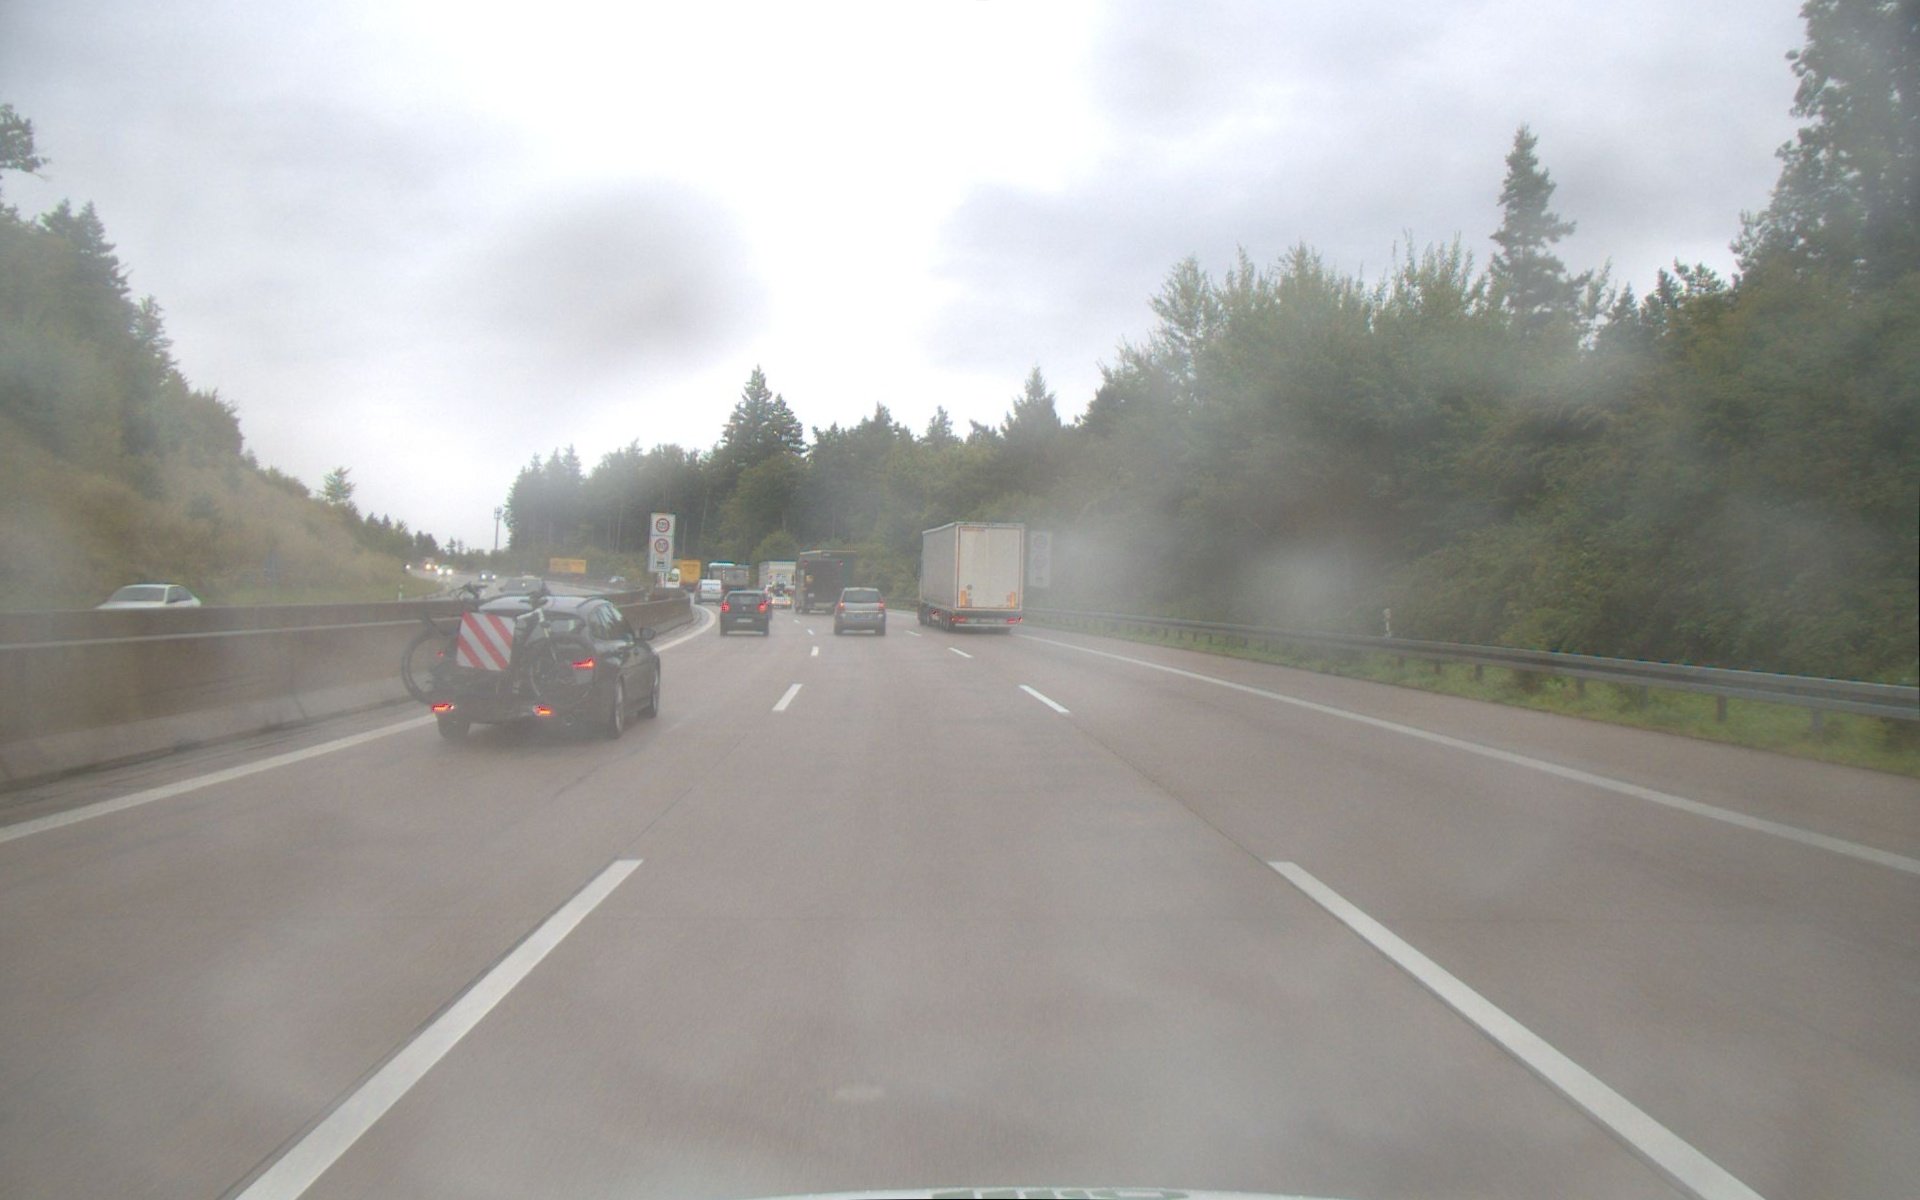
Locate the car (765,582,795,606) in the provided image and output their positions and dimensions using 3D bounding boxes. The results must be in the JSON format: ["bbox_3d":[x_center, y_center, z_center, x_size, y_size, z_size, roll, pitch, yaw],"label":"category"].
[{"bbox_3d":[-12.294,-0.441,112.976,1.845,1.498,3.997,3,1,-4],"label":"car"}]

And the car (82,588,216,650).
[{"bbox_3d":[-21.915,0.486,44.864,1.696,1.603,4.242,0,0,-3],"label":"car"}]

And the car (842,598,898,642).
[{"bbox_3d":[-3.096,0.678,57.307,1.521,1.375,3.685,3,0,2],"label":"car"}]

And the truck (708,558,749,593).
[{"bbox_3d":[-21.219,-2.268,151.269,3.029,2.956,7.877,1,1,-13],"label":"truck"}]

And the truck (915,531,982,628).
[{"bbox_3d":[-0.571,-0.902,73.136,2.374,4.139,4.971,1,1,-7],"label":"truck"}]

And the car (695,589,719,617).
[{"bbox_3d":[-19.088,0.217,124.957,1.693,2.049,3.650,0,0,-8],"label":"car"}]

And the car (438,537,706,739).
[{"bbox_3d":[-4.276,0.346,19.313,1.869,1.979,6.160,0,0,-2],"label":"car"}]

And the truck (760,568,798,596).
[{"bbox_3d":[-16.889,-1.695,153.987,2.922,2.349,6.648,3,0,-12],"label":"truck"}]

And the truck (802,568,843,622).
[{"bbox_3d":[-8.105,-0.346,97.572,2.225,2.937,7.896,1,1,-5],"label":"truck"}]

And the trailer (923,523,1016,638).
[{"bbox_3d":[0.222,-0.772,66.045,2.373,4.139,12.040,1,1,-6],"label":"trailer"}]

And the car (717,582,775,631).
[{"bbox_3d":[-7.056,0.195,54.805,1.651,1.487,3.680,2,0,-5],"label":"car"}]

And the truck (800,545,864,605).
[{"bbox_3d":[-9.518,-1.859,121.934,3.310,4.203,10.405,1,1,-12],"label":"truck"}]

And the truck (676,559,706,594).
[{"bbox_3d":[-34.089,-2.904,209.954,3.671,4.283,6.804,0,0,-9],"label":"truck"}]
